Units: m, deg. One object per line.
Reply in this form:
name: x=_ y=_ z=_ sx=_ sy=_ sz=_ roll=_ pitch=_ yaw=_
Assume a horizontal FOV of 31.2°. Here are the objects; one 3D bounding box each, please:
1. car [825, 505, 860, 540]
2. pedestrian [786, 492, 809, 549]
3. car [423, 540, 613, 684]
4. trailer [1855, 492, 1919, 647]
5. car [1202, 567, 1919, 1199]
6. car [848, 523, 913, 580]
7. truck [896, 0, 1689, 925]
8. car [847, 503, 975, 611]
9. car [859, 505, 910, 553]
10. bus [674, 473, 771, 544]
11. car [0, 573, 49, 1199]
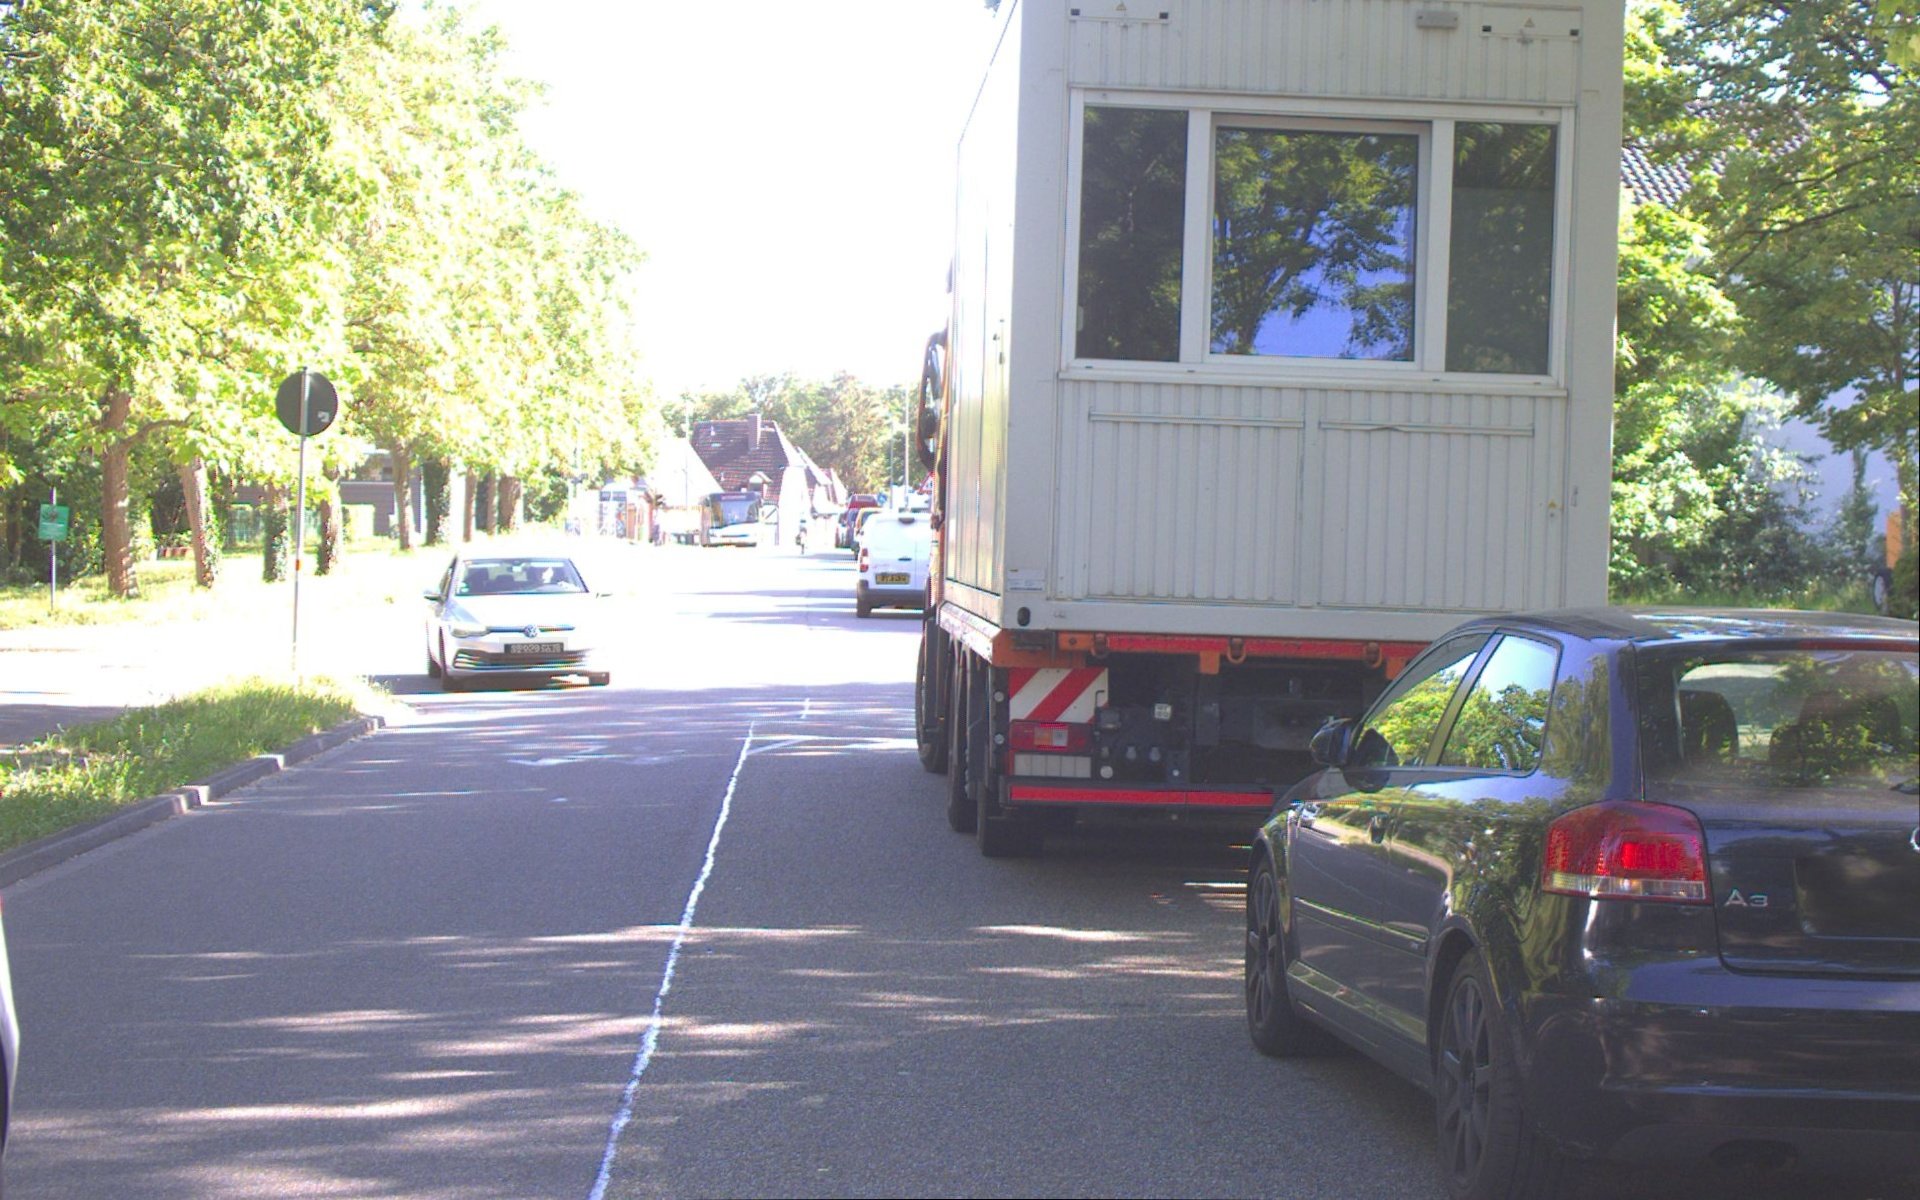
car: x=-6.260 y=-4.118 z=182.991 sx=1.781 sy=1.802 sz=4.001 roll=0 pitch=1 yaw=-3
pedestrian: x=-6.102 y=-2.972 z=129.197 sx=0.752 sy=2.106 sz=0.799 roll=3 pitch=1 yaw=1
car: x=-4.825 y=0.087 z=37.156 sx=1.805 sy=1.415 sz=3.960 roll=-1 pitch=1 yaw=-10
trailer: x=14.148 y=-0.425 z=47.740 sx=2.942 sy=2.109 sz=1.611 roll=0 pitch=1 yaw=-4
car: x=1.788 y=0.674 z=9.000 sx=1.639 sy=1.415 sz=4.001 roll=1 pitch=1 yaw=-5
car: x=-2.354 y=-1.444 z=101.259 sx=1.781 sy=1.647 sz=4.001 roll=0 pitch=1 yaw=-3
truck: x=1.269 y=-0.829 z=19.200 sx=2.772 sy=3.982 sz=10.350 roll=2 pitch=1 yaw=-3
car: x=-0.912 y=-0.780 z=61.290 sx=1.946 sy=1.836 sz=4.001 roll=1 pitch=1 yaw=-5
car: x=-2.889 y=-2.691 z=130.519 sx=1.781 sy=1.802 sz=4.001 roll=0 pitch=1 yaw=-3
bus: x=-11.539 y=-4.446 z=167.913 sx=4.065 sy=3.337 sz=9.801 roll=0 pitch=2 yaw=0
car: x=-2.600 y=0.722 z=4.482 sx=1.786 sy=1.412 sz=4.105 roll=-1 pitch=2 yaw=-1
